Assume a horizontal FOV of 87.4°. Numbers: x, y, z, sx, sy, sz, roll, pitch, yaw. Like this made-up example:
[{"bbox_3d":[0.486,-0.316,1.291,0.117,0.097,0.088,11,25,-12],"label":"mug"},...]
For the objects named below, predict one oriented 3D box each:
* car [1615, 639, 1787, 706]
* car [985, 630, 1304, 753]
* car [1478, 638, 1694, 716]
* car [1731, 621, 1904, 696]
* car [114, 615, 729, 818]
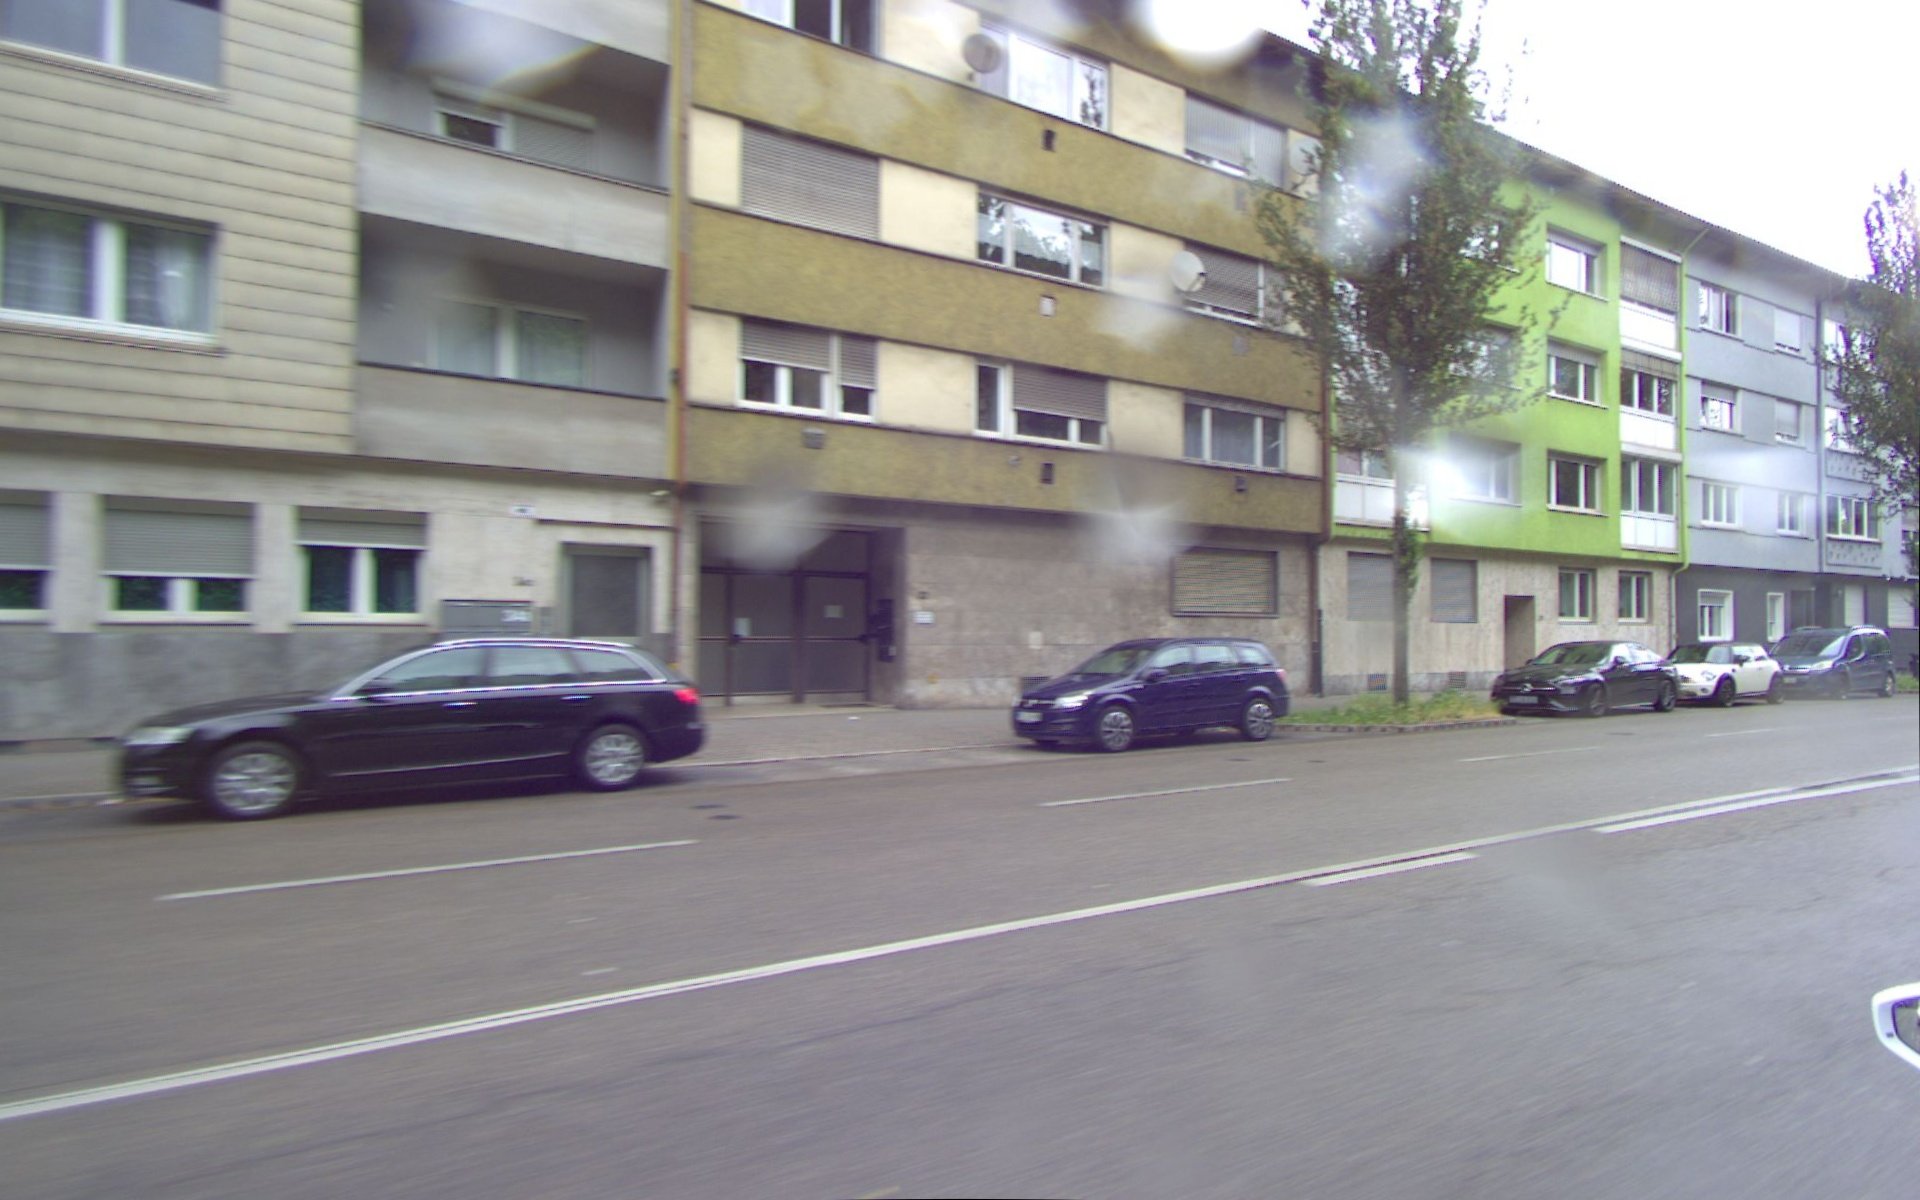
[{"bbox_3d":[16.836,1.609,22.800,3.953,1.394,1.673,1,-4,-30],"label":"car"},{"bbox_3d":[2.697,1.219,14.339,4.463,1.508,1.710,1,-4,-31],"label":"car"},{"bbox_3d":[12.565,1.480,20.076,4.628,1.390,1.808,1,-4,-32],"label":"car"},{"bbox_3d":[22.016,1.487,25.767,4.544,1.789,1.883,2,-3,-29],"label":"car"},{"bbox_3d":[-4.782,0.963,9.559,4.737,1.508,1.808,1,-4,-33],"label":"car"}]
